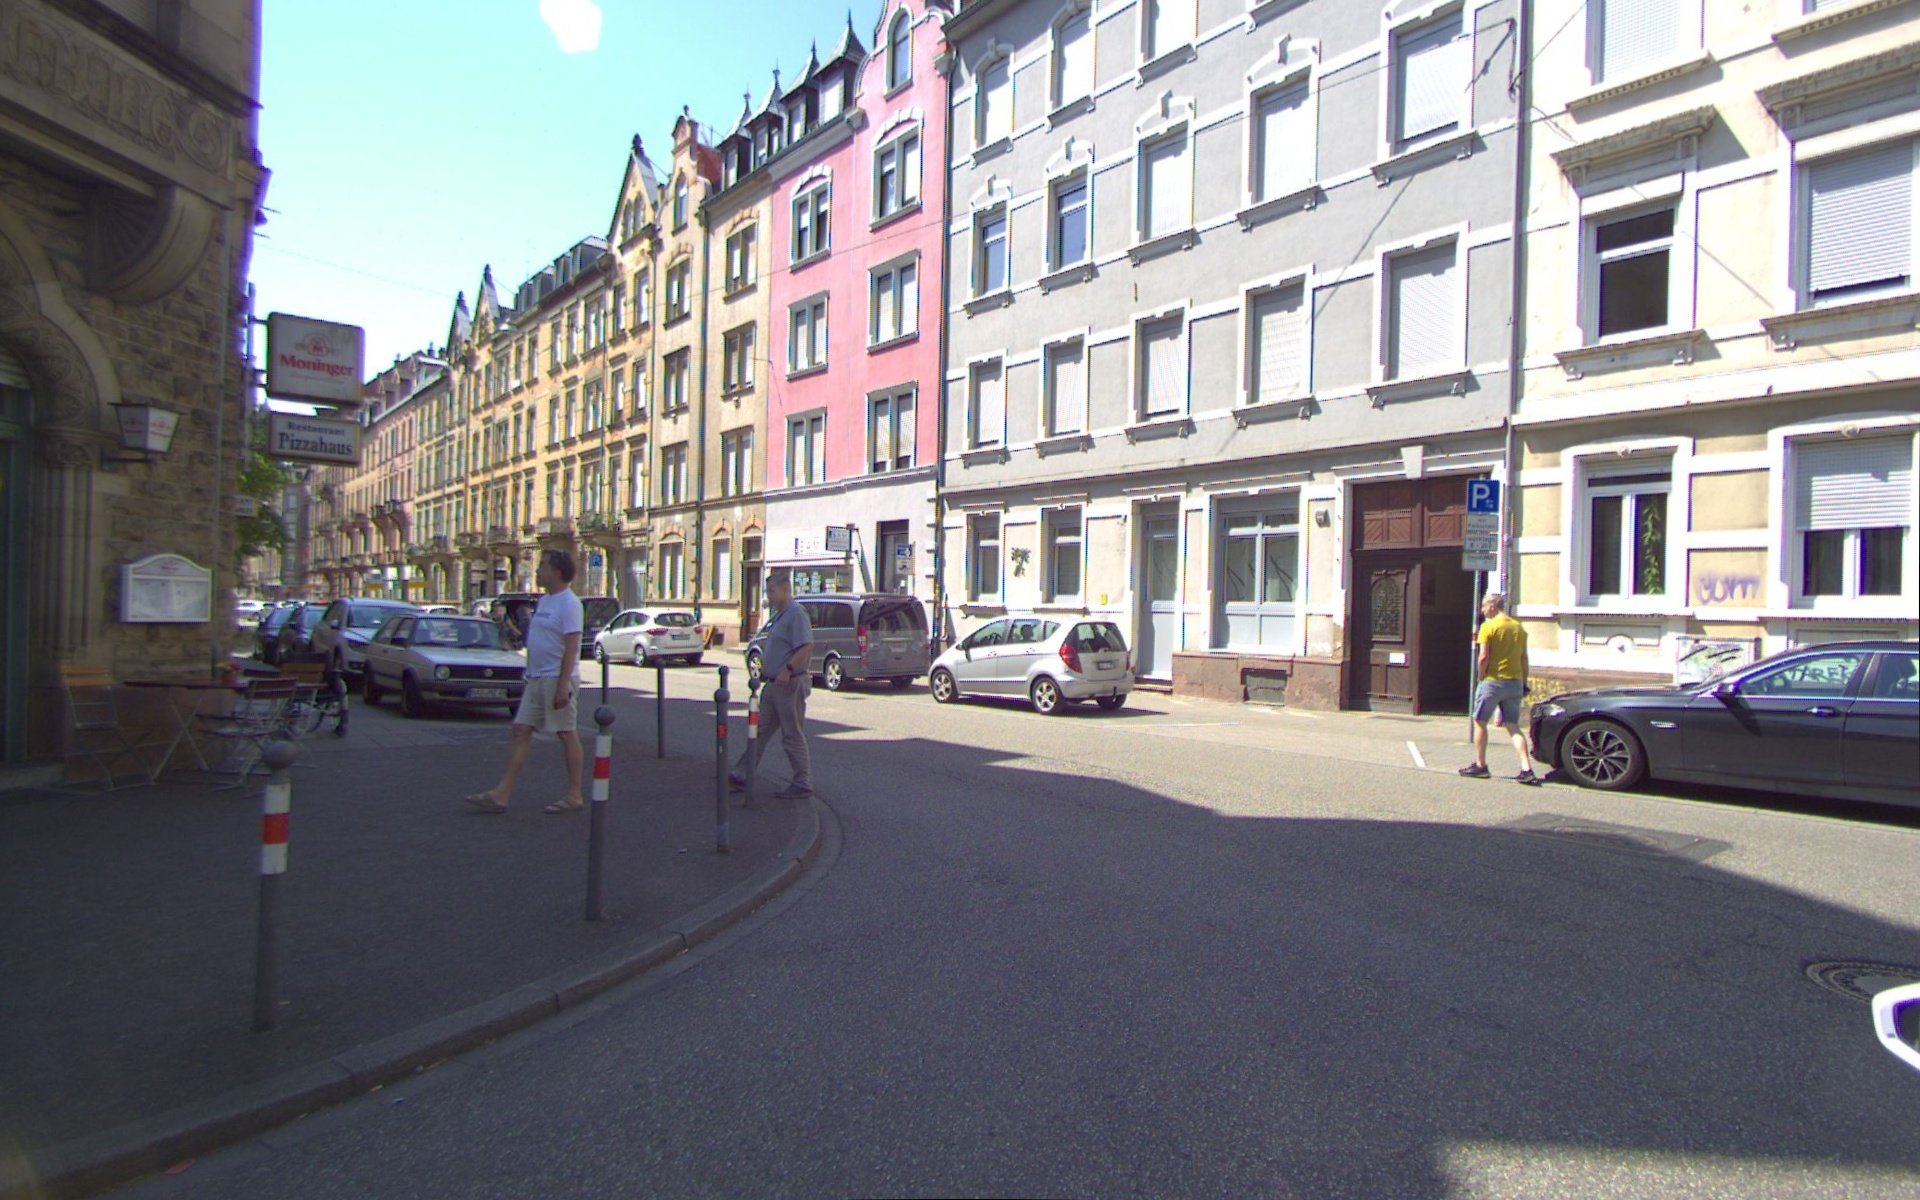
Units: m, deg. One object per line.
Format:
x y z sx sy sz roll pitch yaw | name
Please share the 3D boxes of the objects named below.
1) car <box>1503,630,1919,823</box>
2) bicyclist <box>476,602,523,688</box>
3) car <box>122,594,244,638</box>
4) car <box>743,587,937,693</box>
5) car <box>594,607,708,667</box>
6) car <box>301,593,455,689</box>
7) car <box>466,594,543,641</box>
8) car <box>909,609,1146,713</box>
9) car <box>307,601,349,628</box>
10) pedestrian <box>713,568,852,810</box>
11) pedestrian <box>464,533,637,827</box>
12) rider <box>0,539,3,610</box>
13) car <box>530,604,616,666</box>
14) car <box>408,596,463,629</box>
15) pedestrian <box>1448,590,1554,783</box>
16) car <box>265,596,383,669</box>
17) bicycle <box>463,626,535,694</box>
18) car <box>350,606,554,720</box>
7.791 1.039 8.965 1.984 1.456 4.818 2 -2 -40 | car
-8.825 0.851 19.241 0.619 1.619 0.668 2 -2 -40 | bicyclist
-29.735 0.647 38.485 3.609 1.579 1.607 2 -2 -40 | car
-2.689 0.786 21.556 1.862 2.024 4.665 0 -1 -41 | car
-8.921 1.027 28.829 1.709 1.603 3.798 1 -1 -42 | car
-10.970 0.746 18.826 1.710 1.603 3.798 4 -3 -42 | car
-17.937 0.678 39.495 1.709 1.753 3.798 1 -1 -42 | car
1.069 0.981 17.481 1.793 1.582 4.011 2 -2 -41 | car
-37.804 0.875 60.043 1.516 1.464 3.247 4 -3 -42 | car
-1.467 0.694 8.220 0.946 1.838 0.900 2 -1 -20 | pedestrian
-2.930 0.537 7.174 0.927 1.914 0.844 2 -2 -37 | pedestrian
-6.432 0.458 6.111 0.530 1.719 0.642 1 -1 4 | rider
-12.695 1.114 32.865 1.536 1.910 3.319 1 -1 -42 | car
-25.153 0.608 48.119 1.516 1.464 3.247 4 -3 -42 | car
5.476 0.858 10.195 0.671 1.878 0.727 1 -1 -1 | pedestrian
-14.252 0.722 22.441 1.626 1.464 3.509 5 -3 -42 | car
-8.841 1.114 19.211 0.608 1.203 2.277 2 -2 -41 | bicycle
-7.584 0.872 14.826 1.710 1.444 3.798 5 -3 -42 | car
